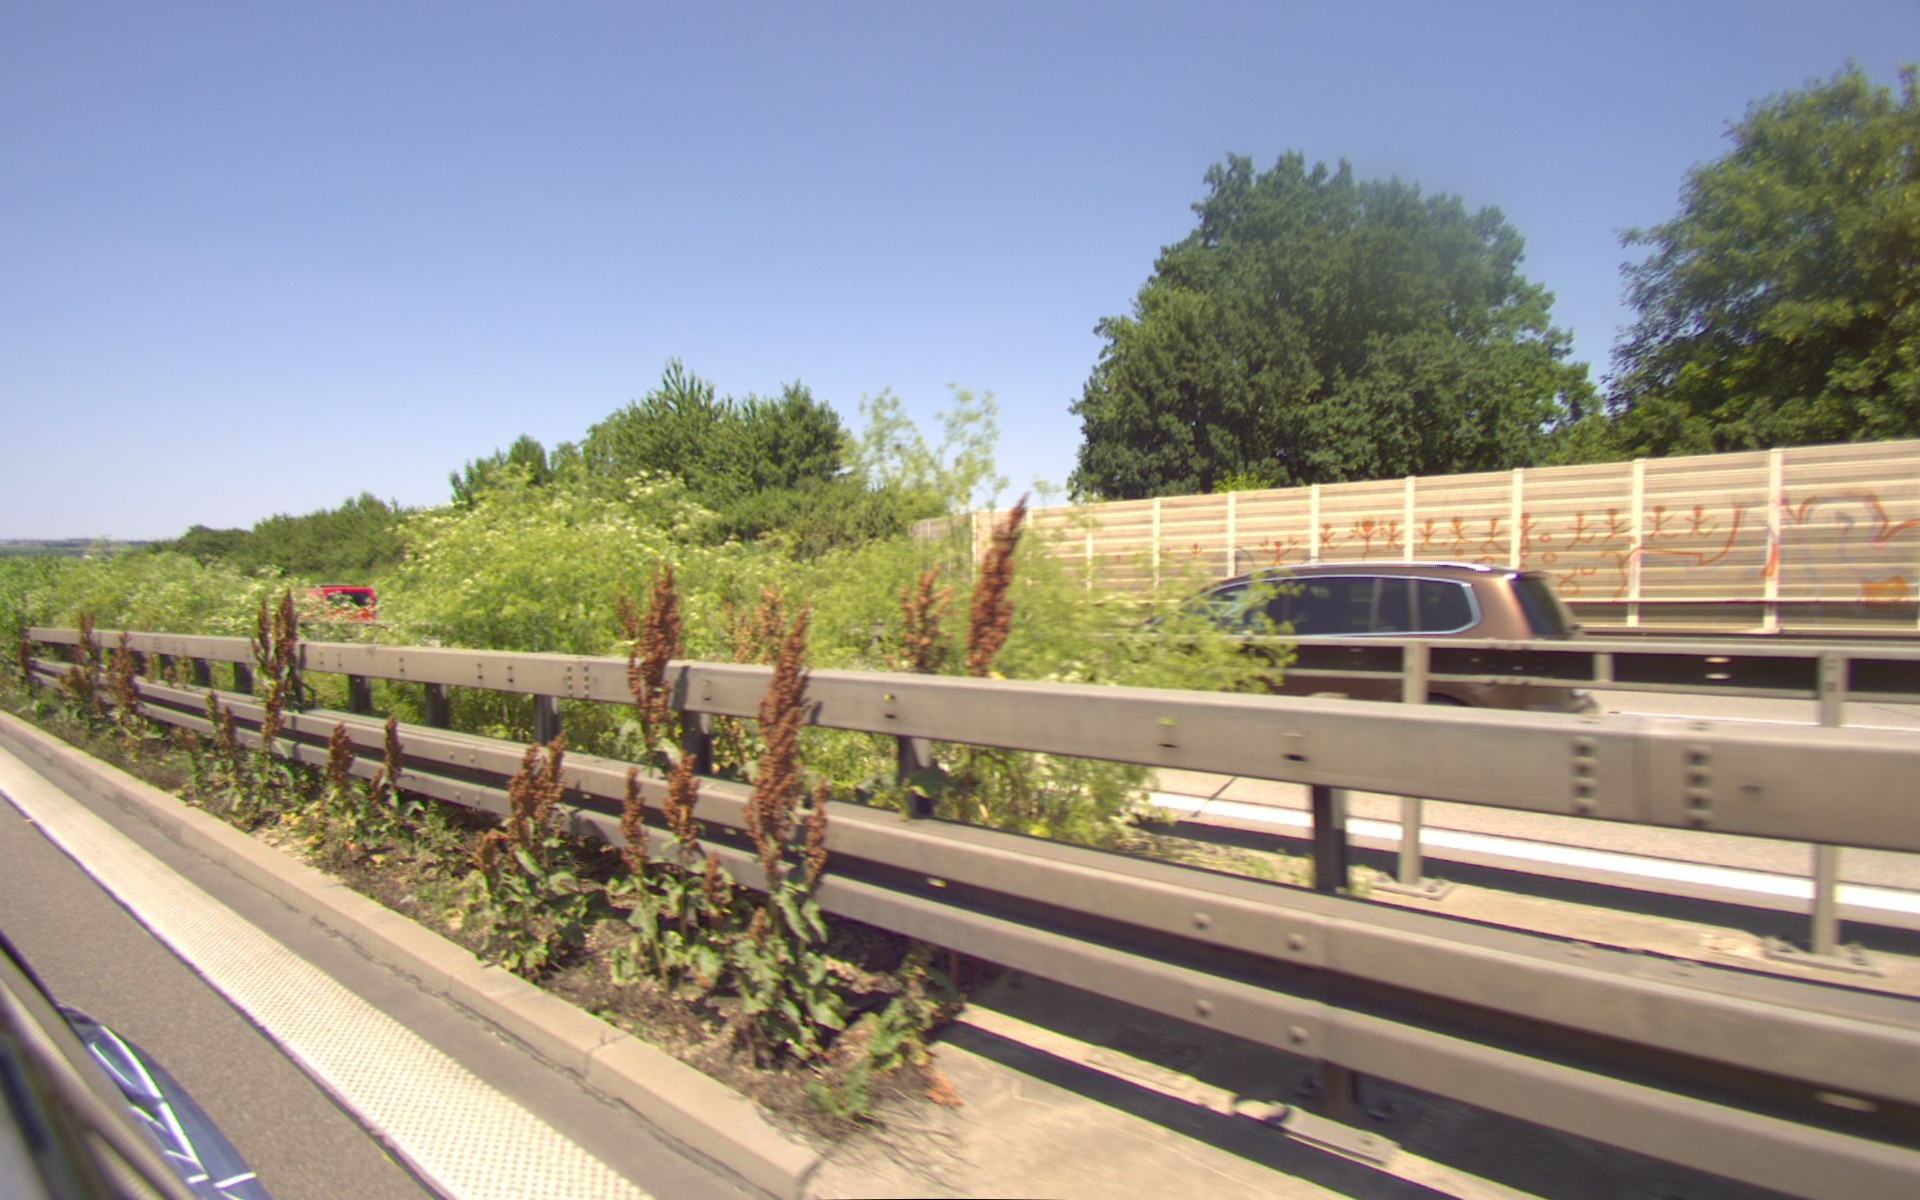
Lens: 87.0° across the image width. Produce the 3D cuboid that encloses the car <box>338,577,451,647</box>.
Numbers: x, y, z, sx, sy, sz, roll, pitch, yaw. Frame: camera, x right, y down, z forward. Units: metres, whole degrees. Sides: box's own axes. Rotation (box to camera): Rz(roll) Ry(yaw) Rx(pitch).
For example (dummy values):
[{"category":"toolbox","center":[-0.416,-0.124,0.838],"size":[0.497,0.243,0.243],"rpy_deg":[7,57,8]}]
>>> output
[{"category":"car","center":[-17.636,0.360,31.485],"size":[3.998,2.029,1.830],"rpy_deg":[-1,0,41]}]

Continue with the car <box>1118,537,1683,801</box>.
[{"category":"car","center":[3.349,0.433,8.128],"size":[3.871,1.630,1.585],"rpy_deg":[-1,0,41]}]
